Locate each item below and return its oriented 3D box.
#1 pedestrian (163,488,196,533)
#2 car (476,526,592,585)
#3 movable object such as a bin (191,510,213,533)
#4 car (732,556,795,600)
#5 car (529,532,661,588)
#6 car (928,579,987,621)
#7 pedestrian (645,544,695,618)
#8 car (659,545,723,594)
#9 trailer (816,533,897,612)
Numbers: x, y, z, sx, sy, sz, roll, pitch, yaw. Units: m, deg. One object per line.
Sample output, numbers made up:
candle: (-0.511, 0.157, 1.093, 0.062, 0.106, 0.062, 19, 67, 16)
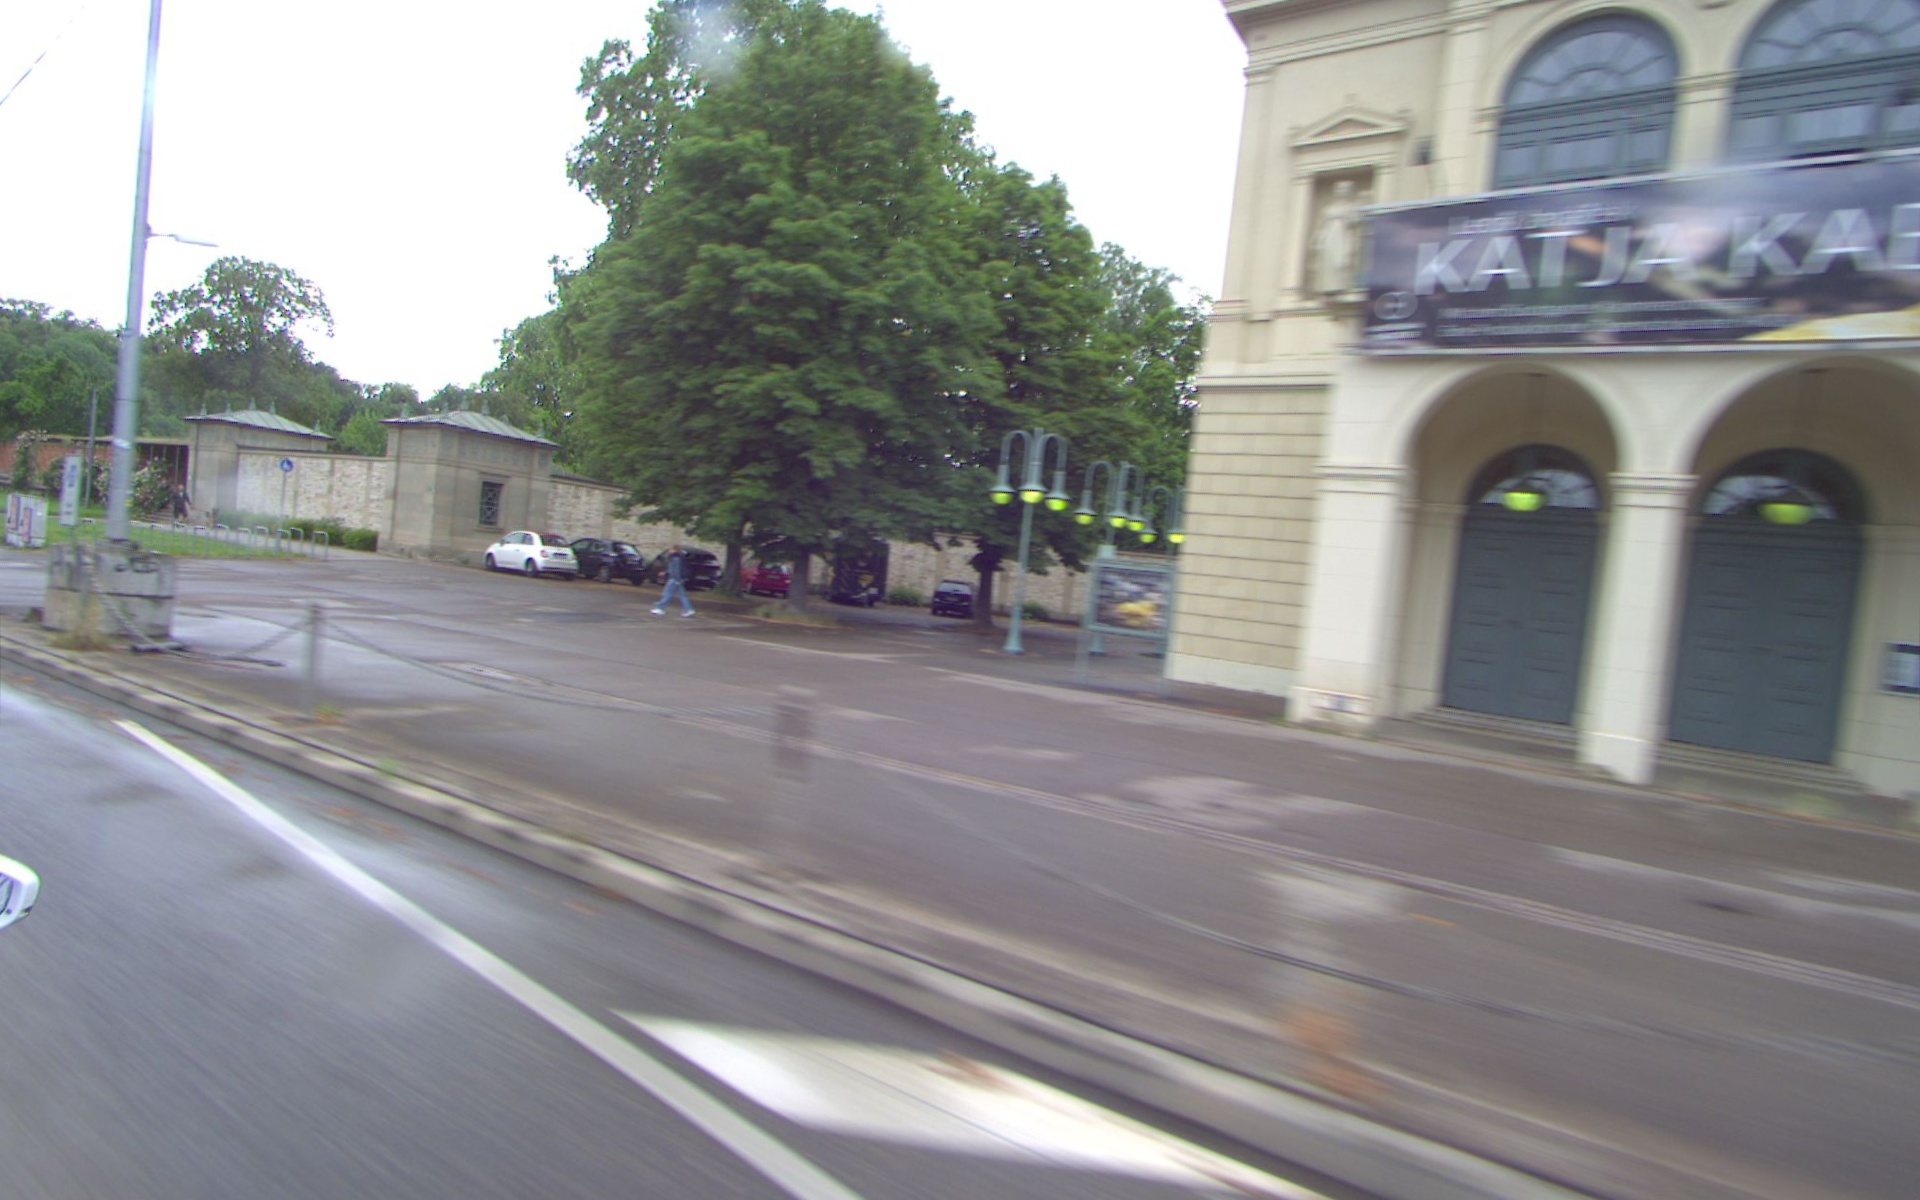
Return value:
pedestrian: (-32.103, -3.687, 41.397, 0.966, 1.733, 0.728, 7, 2, 34)
car: (-14.337, -1.503, 33.816, 3.538, 1.474, 1.837, 9, 3, 33)
movable object such as a bin: (-31.382, -3.247, 41.640, 1.173, 0.883, 0.342, 6, 2, 34)
car: (-8.018, -0.929, 40.785, 1.658, 1.461, 4.129, 5, 2, -22)
car: (-12.997, -1.419, 35.830, 4.111, 1.509, 1.898, 7, 2, 22)
car: (-0.047, -0.023, 41.116, 1.708, 1.426, 4.277, 6, 2, 8)
pedestrian: (-6.610, -0.432, 22.923, 0.855, 1.612, 0.663, 3, 3, -31)
car: (-10.273, -1.179, 38.247, 1.751, 1.548, 4.079, 5, 2, -22)
trailer: (-4.336, -1.196, 41.279, 2.114, 2.823, 5.633, 5, 2, -16)
